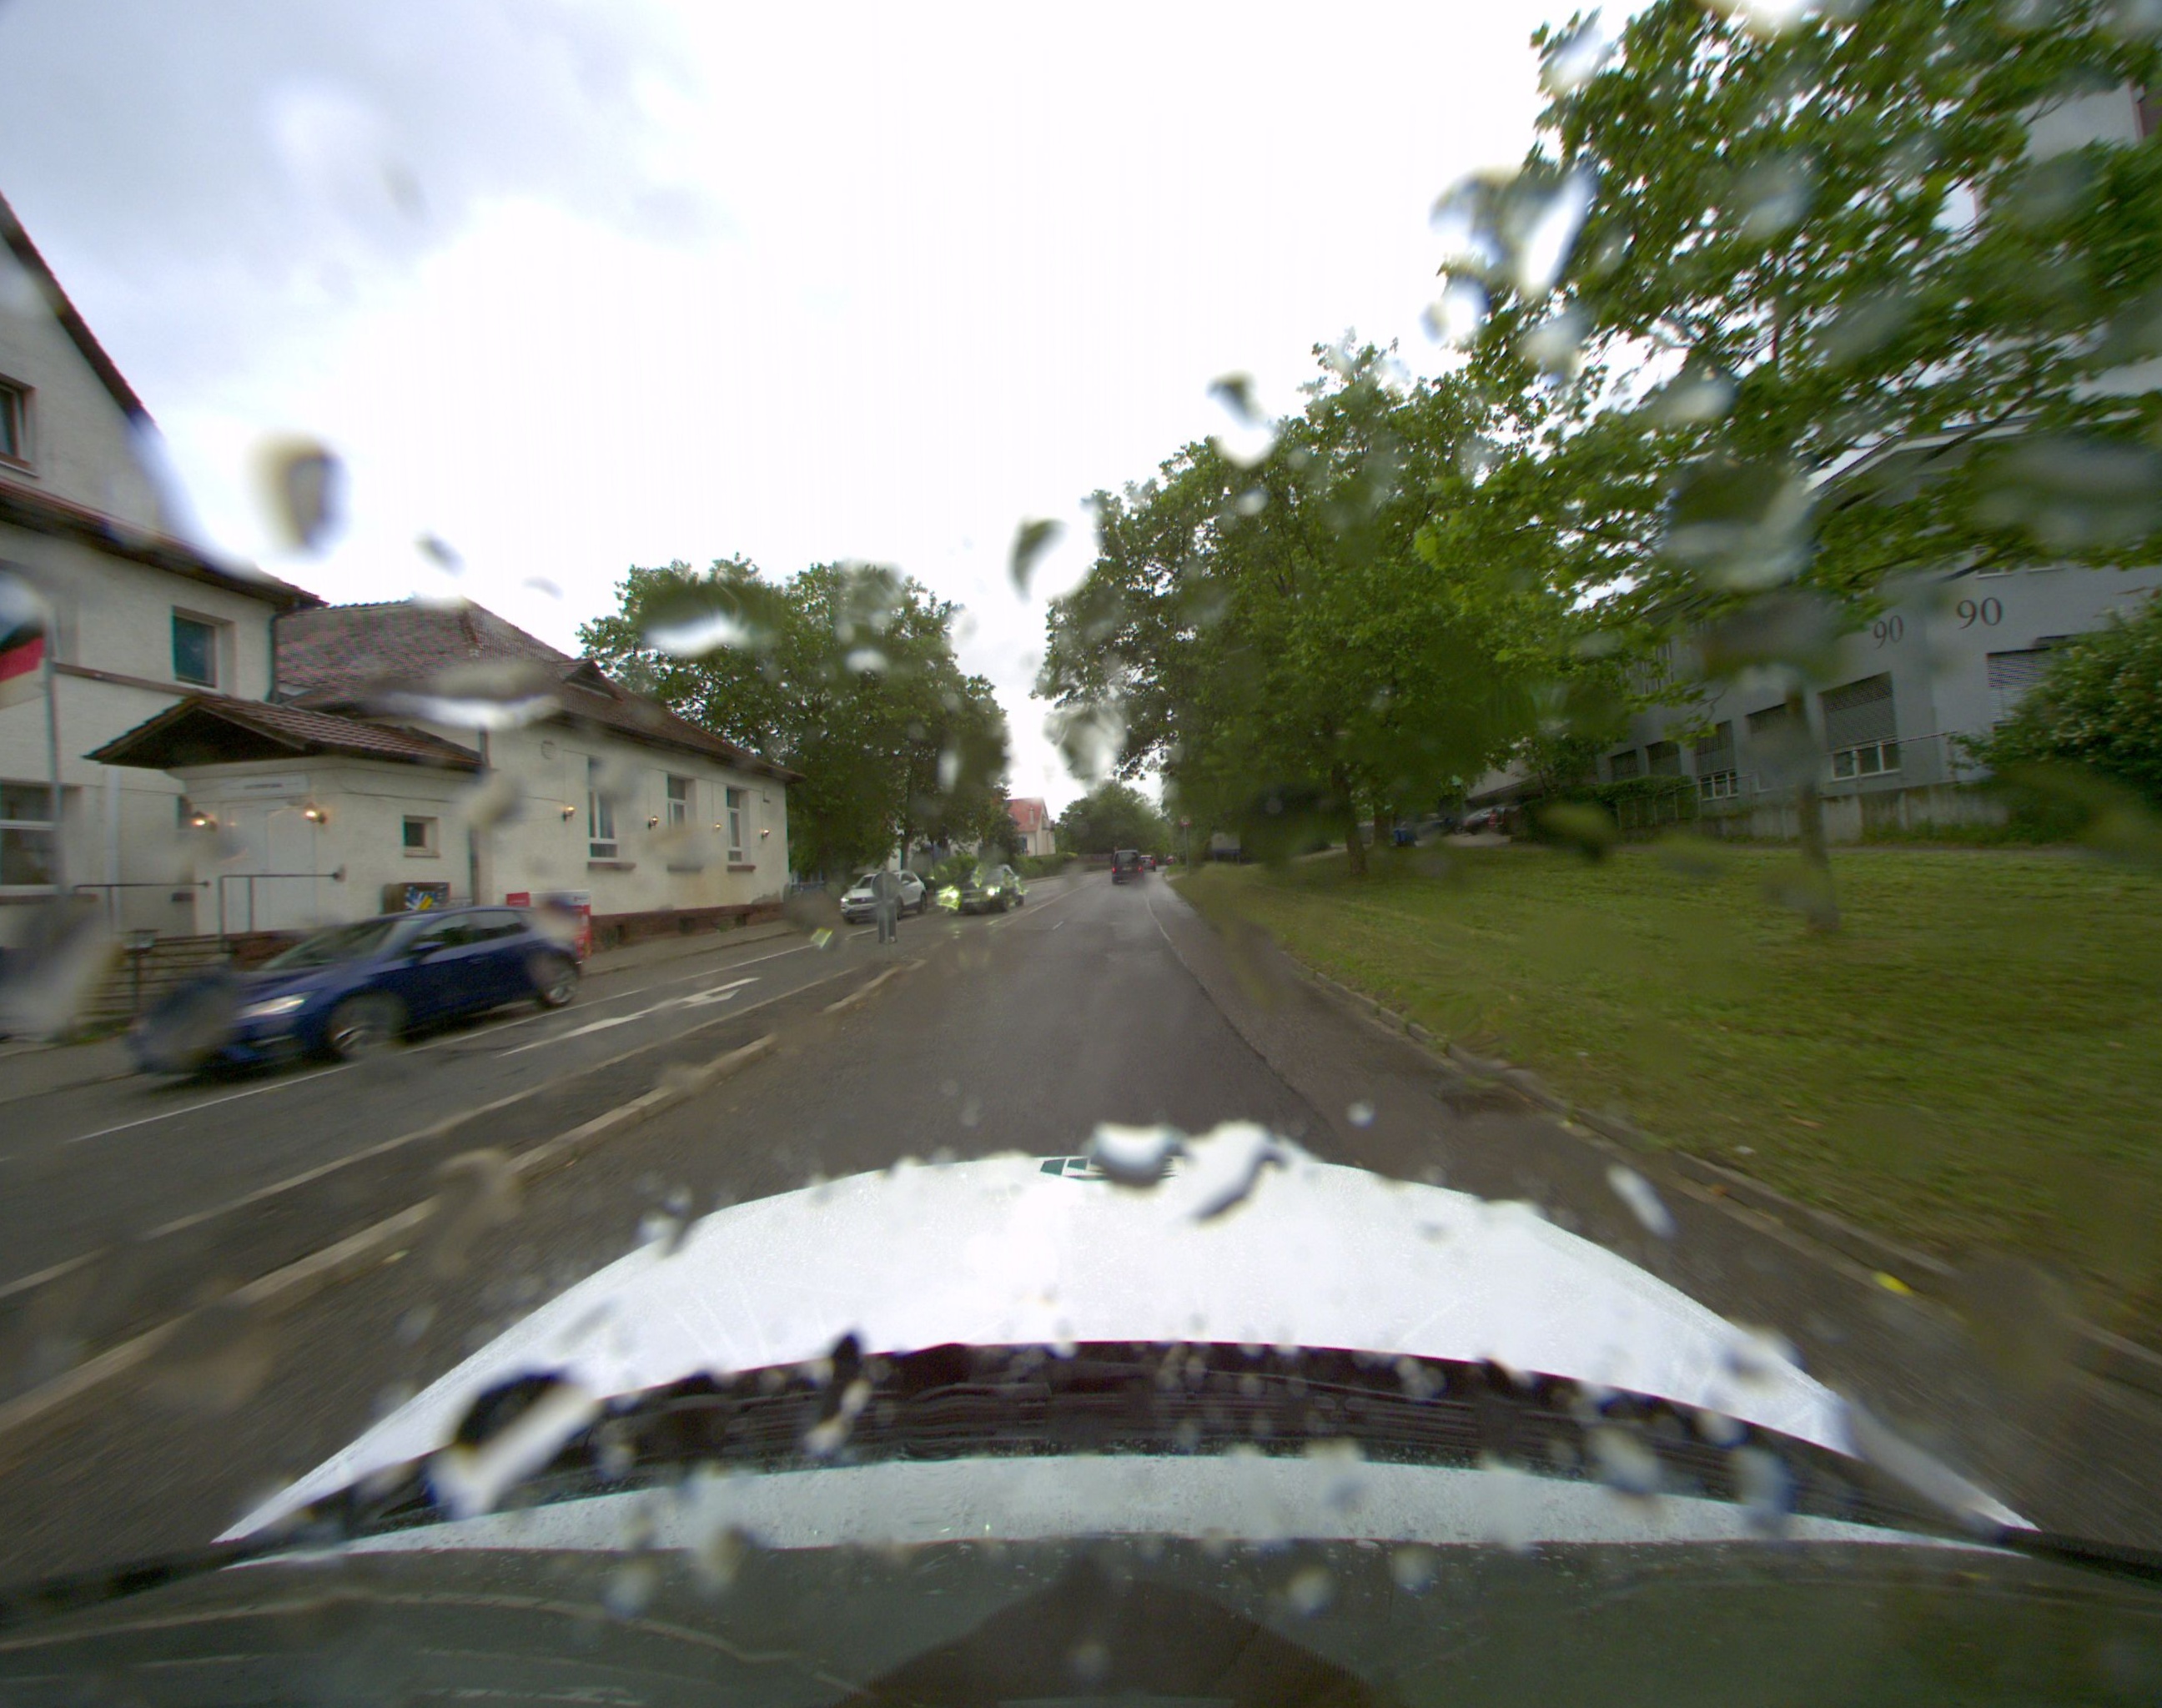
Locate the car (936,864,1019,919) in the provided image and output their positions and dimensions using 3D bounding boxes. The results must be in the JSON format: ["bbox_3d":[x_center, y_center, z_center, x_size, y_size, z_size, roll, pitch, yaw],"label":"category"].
[{"bbox_3d":[-3.201,1.128,25.997,1.987,1.429,4.387,-4,0,0],"label":"car"}]

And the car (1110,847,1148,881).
[{"bbox_3d":[2.671,0.524,46.134,1.986,1.794,4.002,-1,0,2],"label":"car"}]

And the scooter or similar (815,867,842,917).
[{"bbox_3d":[-9.199,1.366,29.705,0.399,1.775,1.513,-3,-2,2],"label":"scooter or similar"}]

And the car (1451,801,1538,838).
[{"bbox_3d":[23.459,-1.931,46.376,3.961,1.750,2.006,-4,0,11],"label":"car"}]

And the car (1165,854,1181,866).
[{"bbox_3d":[13.749,0.895,121.581,1.980,1.750,4.013,-1,-1,11],"label":"car"}]

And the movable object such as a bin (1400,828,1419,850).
[{"bbox_3d":[16.622,-0.750,41.224,0.666,1.120,0.662,-1,-1,-1],"label":"movable object such as a bin"}]

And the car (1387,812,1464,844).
[{"bbox_3d":[22.180,-1.646,52.521,3.978,1.750,1.998,-4,0,-3],"label":"car"}]

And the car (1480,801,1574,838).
[{"bbox_3d":[23.962,-1.822,43.898,3.964,1.662,1.964,-4,0,9],"label":"car"}]

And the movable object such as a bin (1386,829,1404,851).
[{"bbox_3d":[16.182,-0.734,41.986,0.666,1.120,0.662,-1,-1,-1],"label":"movable object such as a bin"}]

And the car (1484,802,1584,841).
[{"bbox_3d":[23.030,-1.630,41.583,3.961,1.640,2.006,-4,0,11],"label":"car"}]

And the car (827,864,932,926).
[{"bbox_3d":[-6.475,1.271,26.717,1.983,1.684,4.007,-4,0,6],"label":"car"}]

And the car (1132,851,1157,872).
[{"bbox_3d":[5.873,0.635,75.020,1.940,1.750,4.008,-4,0,7],"label":"car"}]

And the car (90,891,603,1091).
[{"bbox_3d":[-7.754,1.323,9.283,1.759,1.420,4.112,-5,0,6],"label":"car"}]

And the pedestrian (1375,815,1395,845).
[{"bbox_3d":[18.455,-1.469,49.492,0.662,1.750,0.846,-4,-1,-14],"label":"pedestrian"}]
